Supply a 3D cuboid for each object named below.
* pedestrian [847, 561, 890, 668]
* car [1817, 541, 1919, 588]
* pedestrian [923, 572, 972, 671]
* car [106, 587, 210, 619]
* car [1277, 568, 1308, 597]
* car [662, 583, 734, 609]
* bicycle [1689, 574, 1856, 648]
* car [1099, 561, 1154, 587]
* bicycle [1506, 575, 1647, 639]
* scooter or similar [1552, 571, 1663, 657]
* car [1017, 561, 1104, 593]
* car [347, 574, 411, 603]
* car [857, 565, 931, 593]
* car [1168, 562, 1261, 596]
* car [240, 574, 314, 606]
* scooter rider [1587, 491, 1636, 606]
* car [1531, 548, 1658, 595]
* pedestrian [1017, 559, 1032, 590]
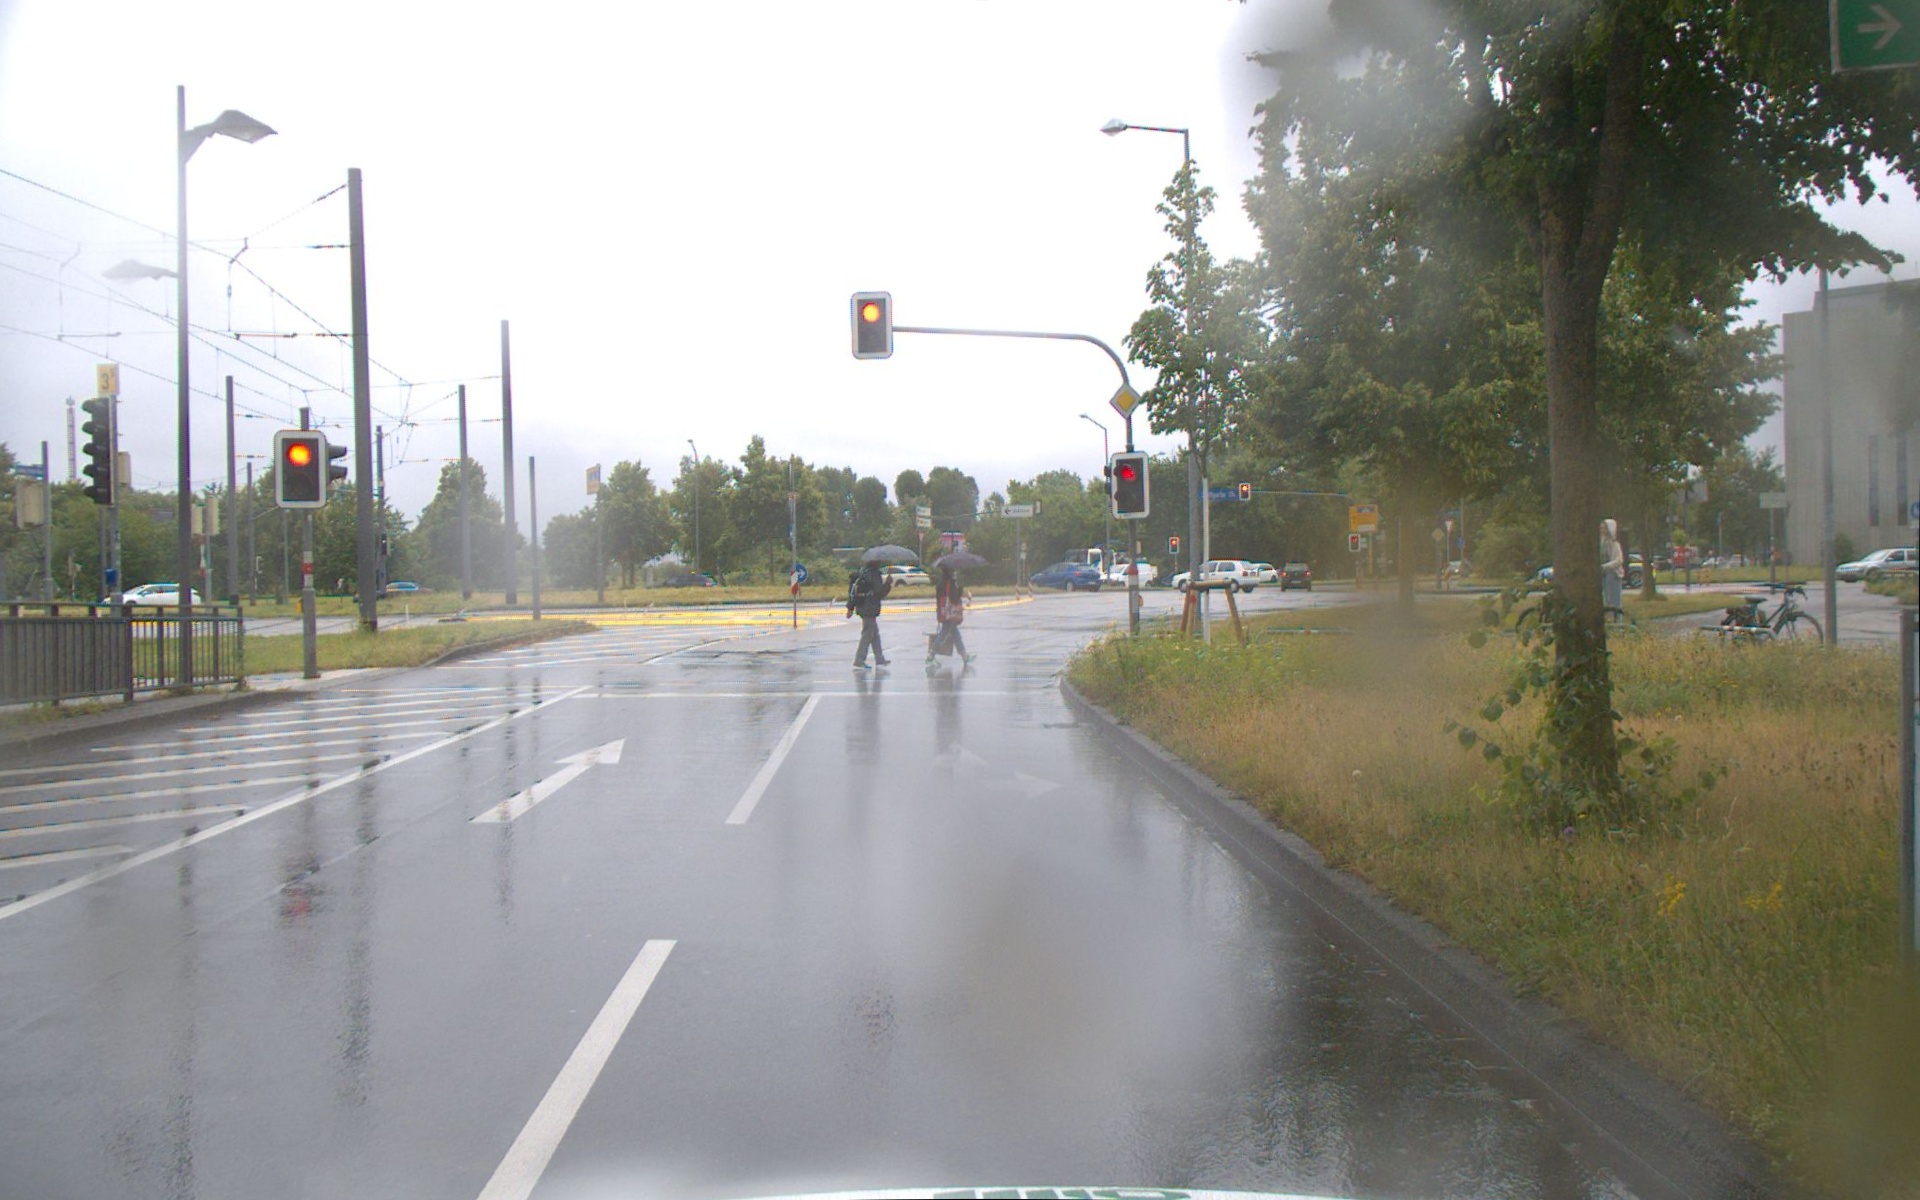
[{"bbox_3d":[-1.345,0.201,24.381,0.608,1.549,0.741,1,1,-3],"label":"pedestrian"},{"bbox_3d":[39.232,-1.480,70.210,4.660,1.883,2.001,1,0,4],"label":"car"},{"bbox_3d":[-0.195,0.325,25.455,0.667,1.486,0.573,-2,0,-6],"label":"pedestrian"},{"bbox_3d":[-40.513,0.127,83.617,1.588,1.479,4.613,0,1,31],"label":"car"},{"bbox_3d":[17.779,-0.932,88.449,1.583,1.479,3.991,-1,1,11],"label":"car"},{"bbox_3d":[-15.441,-0.237,97.583,3.890,1.479,1.625,-1,1,6],"label":"car"},{"bbox_3d":[9.264,0.111,18.945,0.445,0.800,1.999,1,0,-18],"label":"bicycle"},{"bbox_3d":[11.521,-1.776,114.055,1.768,1.691,4.113,1,0,39],"label":"car"},{"bbox_3d":[8.042,0.083,21.644,0.376,0.800,1.837,1,0,-35],"label":"bicycle"},{"bbox_3d":[9.971,0.213,25.490,1.555,1.281,0.447,1,0,-8],"label":"scooter or similar"},{"bbox_3d":[4.832,-1.090,79.565,3.907,1.479,1.618,0,1,36],"label":"car"},{"bbox_3d":[-33.818,-0.656,96.281,3.427,1.570,1.610,1,0,-25],"label":"car"},{"bbox_3d":[-3.637,-1.164,90.546,4.038,1.479,1.614,0,1,41],"label":"car"},{"bbox_3d":[11.459,-0.935,74.583,3.913,1.479,1.615,0,1,40],"label":"car"},{"bbox_3d":[-41.554,-0.609,100.675,1.644,1.847,3.995,1,0,28],"label":"car"},{"bbox_3d":[10.030,-0.795,25.480,0.521,1.739,0.433,-2,1,-7],"label":"scooter rider"},{"bbox_3d":[26.652,-1.204,69.600,4.659,1.883,2.002,-1,1,7],"label":"car"},{"bbox_3d":[2.788,-1.106,71.520,0.445,1.327,0.484,0,1,37],"label":"pedestrian"}]
